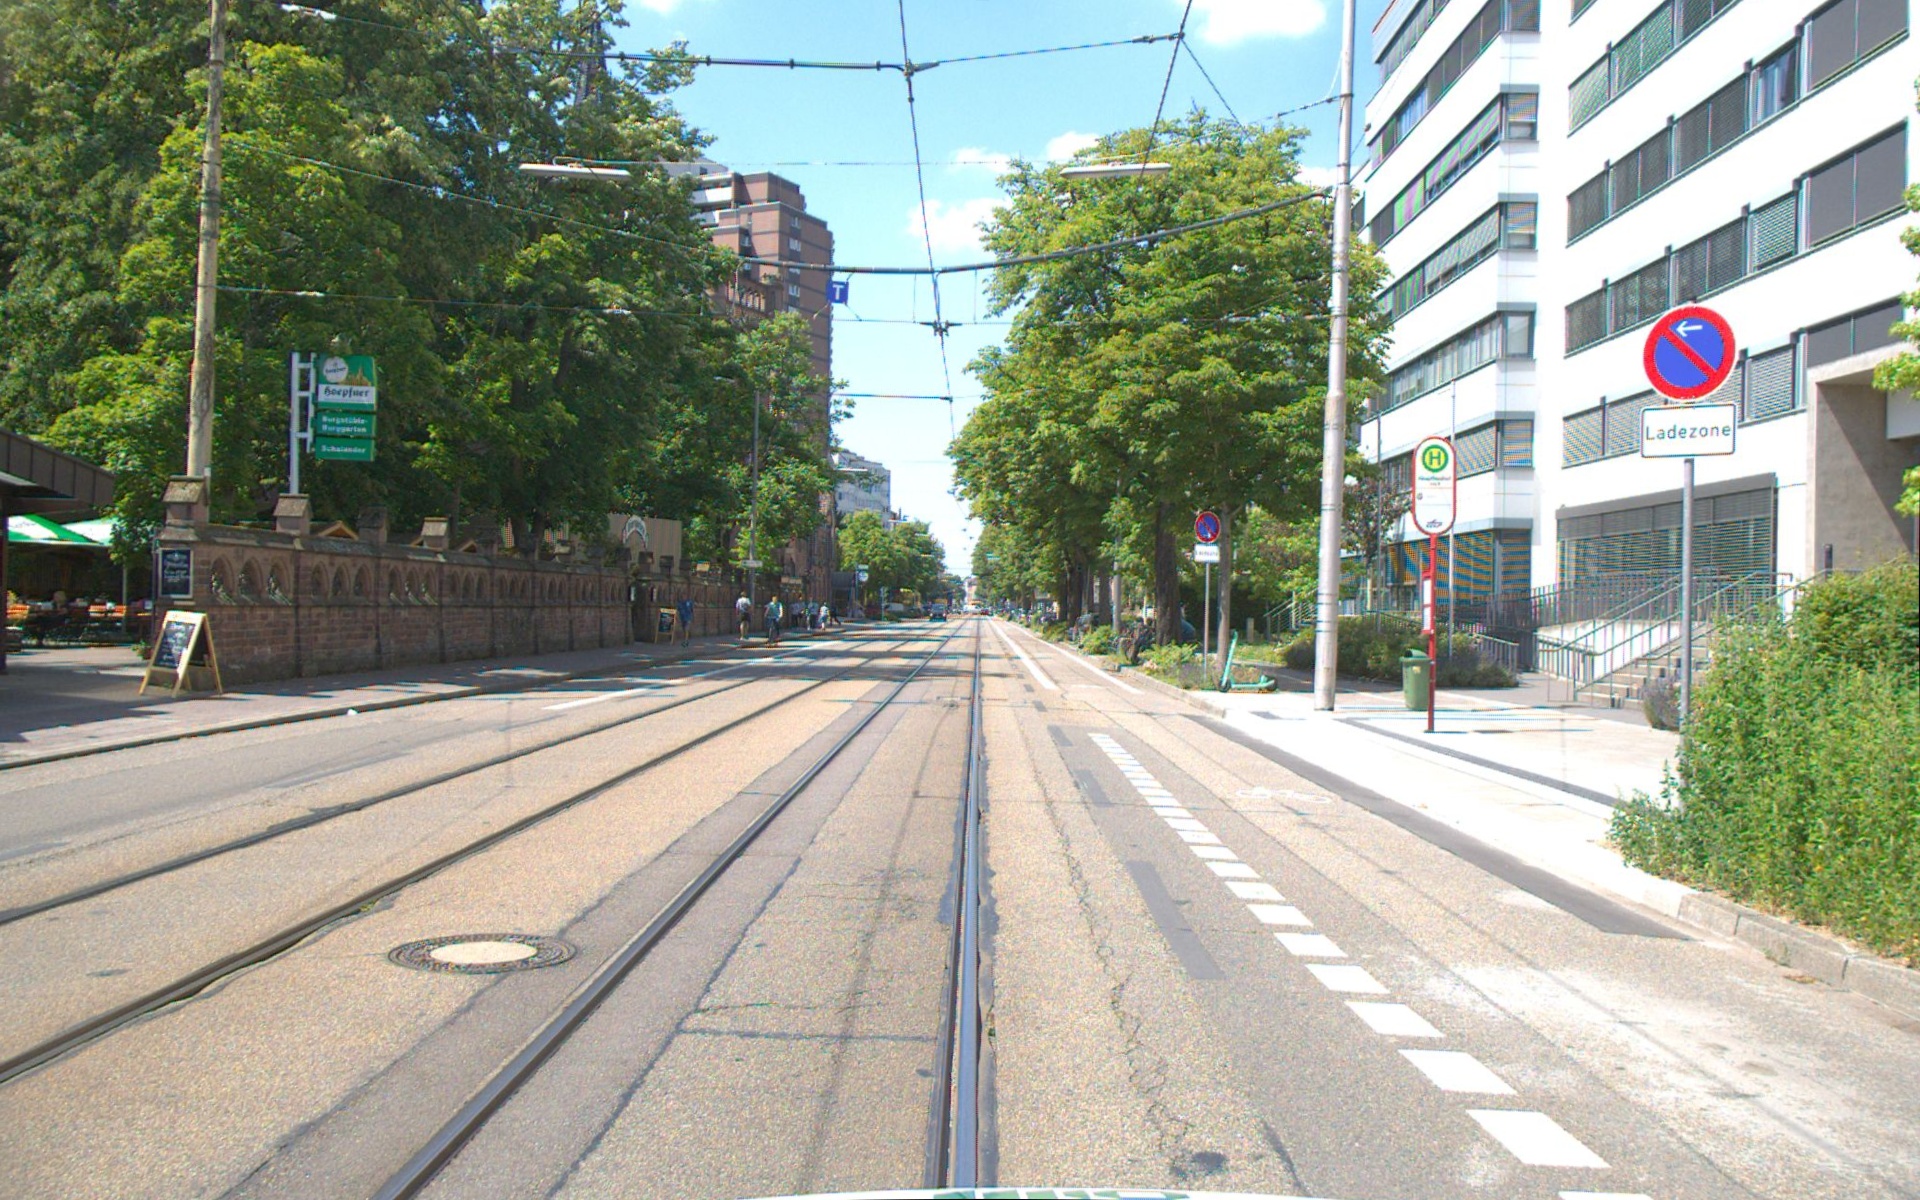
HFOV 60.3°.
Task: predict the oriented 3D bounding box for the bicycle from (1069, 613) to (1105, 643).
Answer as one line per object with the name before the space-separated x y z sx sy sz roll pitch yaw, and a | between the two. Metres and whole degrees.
bicycle | 5.615 1.236 73.187 1.532 1.263 0.437 1 0 2

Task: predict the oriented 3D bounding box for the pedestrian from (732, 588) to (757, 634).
pedestrian | -8.482 0.432 65.094 0.798 1.801 0.924 1 -1 0

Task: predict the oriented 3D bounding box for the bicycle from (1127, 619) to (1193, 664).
bicycle | 5.440 1.123 45.054 1.717 1.186 0.530 1 -1 -2

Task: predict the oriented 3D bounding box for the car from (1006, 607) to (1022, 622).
car | 7.215 1.986 222.057 1.952 1.937 4.000 1 0 0

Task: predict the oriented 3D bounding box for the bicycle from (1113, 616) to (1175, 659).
bicycle | 5.391 1.100 48.564 1.717 1.186 0.530 1 -1 -2

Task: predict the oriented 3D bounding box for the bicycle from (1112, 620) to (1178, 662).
bicycle | 5.572 1.237 49.950 1.955 1.231 0.662 1 0 5

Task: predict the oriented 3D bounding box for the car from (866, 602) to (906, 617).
car | -9.247 1.208 207.042 4.672 1.747 1.983 1 0 -27

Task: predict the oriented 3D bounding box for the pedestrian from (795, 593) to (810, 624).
pedestrian | -8.842 0.471 93.070 0.728 1.758 0.867 1 -1 0

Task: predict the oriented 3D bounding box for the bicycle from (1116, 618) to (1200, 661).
bicycle | 5.870 1.162 49.193 2.458 1.231 0.648 1 0 5

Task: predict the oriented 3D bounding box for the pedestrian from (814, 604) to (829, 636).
pedestrian | -7.896 1.141 94.089 0.728 1.758 0.867 1 -1 0

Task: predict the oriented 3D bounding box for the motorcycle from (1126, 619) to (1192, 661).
motorcycle | 5.599 1.118 46.606 1.786 1.130 0.598 1 0 1

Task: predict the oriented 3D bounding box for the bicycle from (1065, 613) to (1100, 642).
bicycle | 5.484 1.226 74.275 1.532 1.263 0.437 1 0 2

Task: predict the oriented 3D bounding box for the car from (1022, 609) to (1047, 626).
car | 6.194 1.459 137.812 1.952 1.333 4.000 1 0 0

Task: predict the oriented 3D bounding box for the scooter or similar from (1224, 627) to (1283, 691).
scooter or similar | 5.528 1.109 31.177 1.036 1.176 0.370 0 -1 1

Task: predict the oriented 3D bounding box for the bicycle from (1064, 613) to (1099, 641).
bicycle | 5.487 1.226 74.804 1.532 1.263 0.437 1 0 2

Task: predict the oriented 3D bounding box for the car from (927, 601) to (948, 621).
car | -2.411 1.181 175.661 1.952 2.049 4.001 2 0 3

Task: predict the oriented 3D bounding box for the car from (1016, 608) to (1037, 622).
car | 6.777 1.494 168.504 1.952 1.333 4.000 1 0 0

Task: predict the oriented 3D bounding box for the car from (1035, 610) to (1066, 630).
car | 6.370 1.385 116.573 1.952 1.333 4.000 1 0 0

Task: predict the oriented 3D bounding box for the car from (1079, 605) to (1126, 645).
car | 5.773 0.991 67.287 1.600 1.527 4.000 1 0 1

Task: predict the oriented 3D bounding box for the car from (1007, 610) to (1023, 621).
car | 7.005 1.972 212.376 1.952 1.333 4.000 1 0 0

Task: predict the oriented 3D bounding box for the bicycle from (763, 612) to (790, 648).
bicycle | -6.458 1.035 58.317 0.686 1.225 2.240 -1 0 0

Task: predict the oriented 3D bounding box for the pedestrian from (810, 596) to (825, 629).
pedestrian | -7.899 0.694 91.910 0.728 1.758 0.867 1 -1 0

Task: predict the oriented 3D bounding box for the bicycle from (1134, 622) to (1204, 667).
bicycle | 5.470 1.159 43.310 1.752 1.121 0.531 1 -1 -1

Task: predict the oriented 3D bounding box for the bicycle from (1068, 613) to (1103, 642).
bicycle | 5.592 1.229 73.691 1.532 1.263 0.437 1 0 2

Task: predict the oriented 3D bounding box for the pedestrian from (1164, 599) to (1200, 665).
pedestrian | 5.923 0.853 44.164 0.574 1.745 0.792 0 -1 43

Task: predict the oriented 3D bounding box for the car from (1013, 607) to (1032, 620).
car | 6.819 1.473 181.997 1.952 1.333 4.000 1 0 0

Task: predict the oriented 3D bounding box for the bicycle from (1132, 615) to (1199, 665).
bicycle | 5.519 1.060 44.485 1.717 1.293 0.530 1 -1 -2

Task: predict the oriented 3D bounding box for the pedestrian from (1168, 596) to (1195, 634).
pedestrian | 11.128 0.737 82.944 1.191 1.859 0.831 1 -1 -3

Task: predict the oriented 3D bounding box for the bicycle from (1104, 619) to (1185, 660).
bicycle | 5.734 1.213 51.416 2.458 1.231 0.742 1 0 5

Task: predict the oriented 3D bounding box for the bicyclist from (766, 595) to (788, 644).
bicyclist | -6.466 0.688 58.431 0.628 1.709 0.815 1 0 1

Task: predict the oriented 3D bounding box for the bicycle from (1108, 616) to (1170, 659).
bicycle | 5.209 1.090 48.063 1.717 1.186 0.530 1 -1 -2

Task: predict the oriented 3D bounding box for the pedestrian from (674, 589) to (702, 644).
pedestrian | -8.867 0.538 54.015 0.728 1.758 0.867 1 -1 0
